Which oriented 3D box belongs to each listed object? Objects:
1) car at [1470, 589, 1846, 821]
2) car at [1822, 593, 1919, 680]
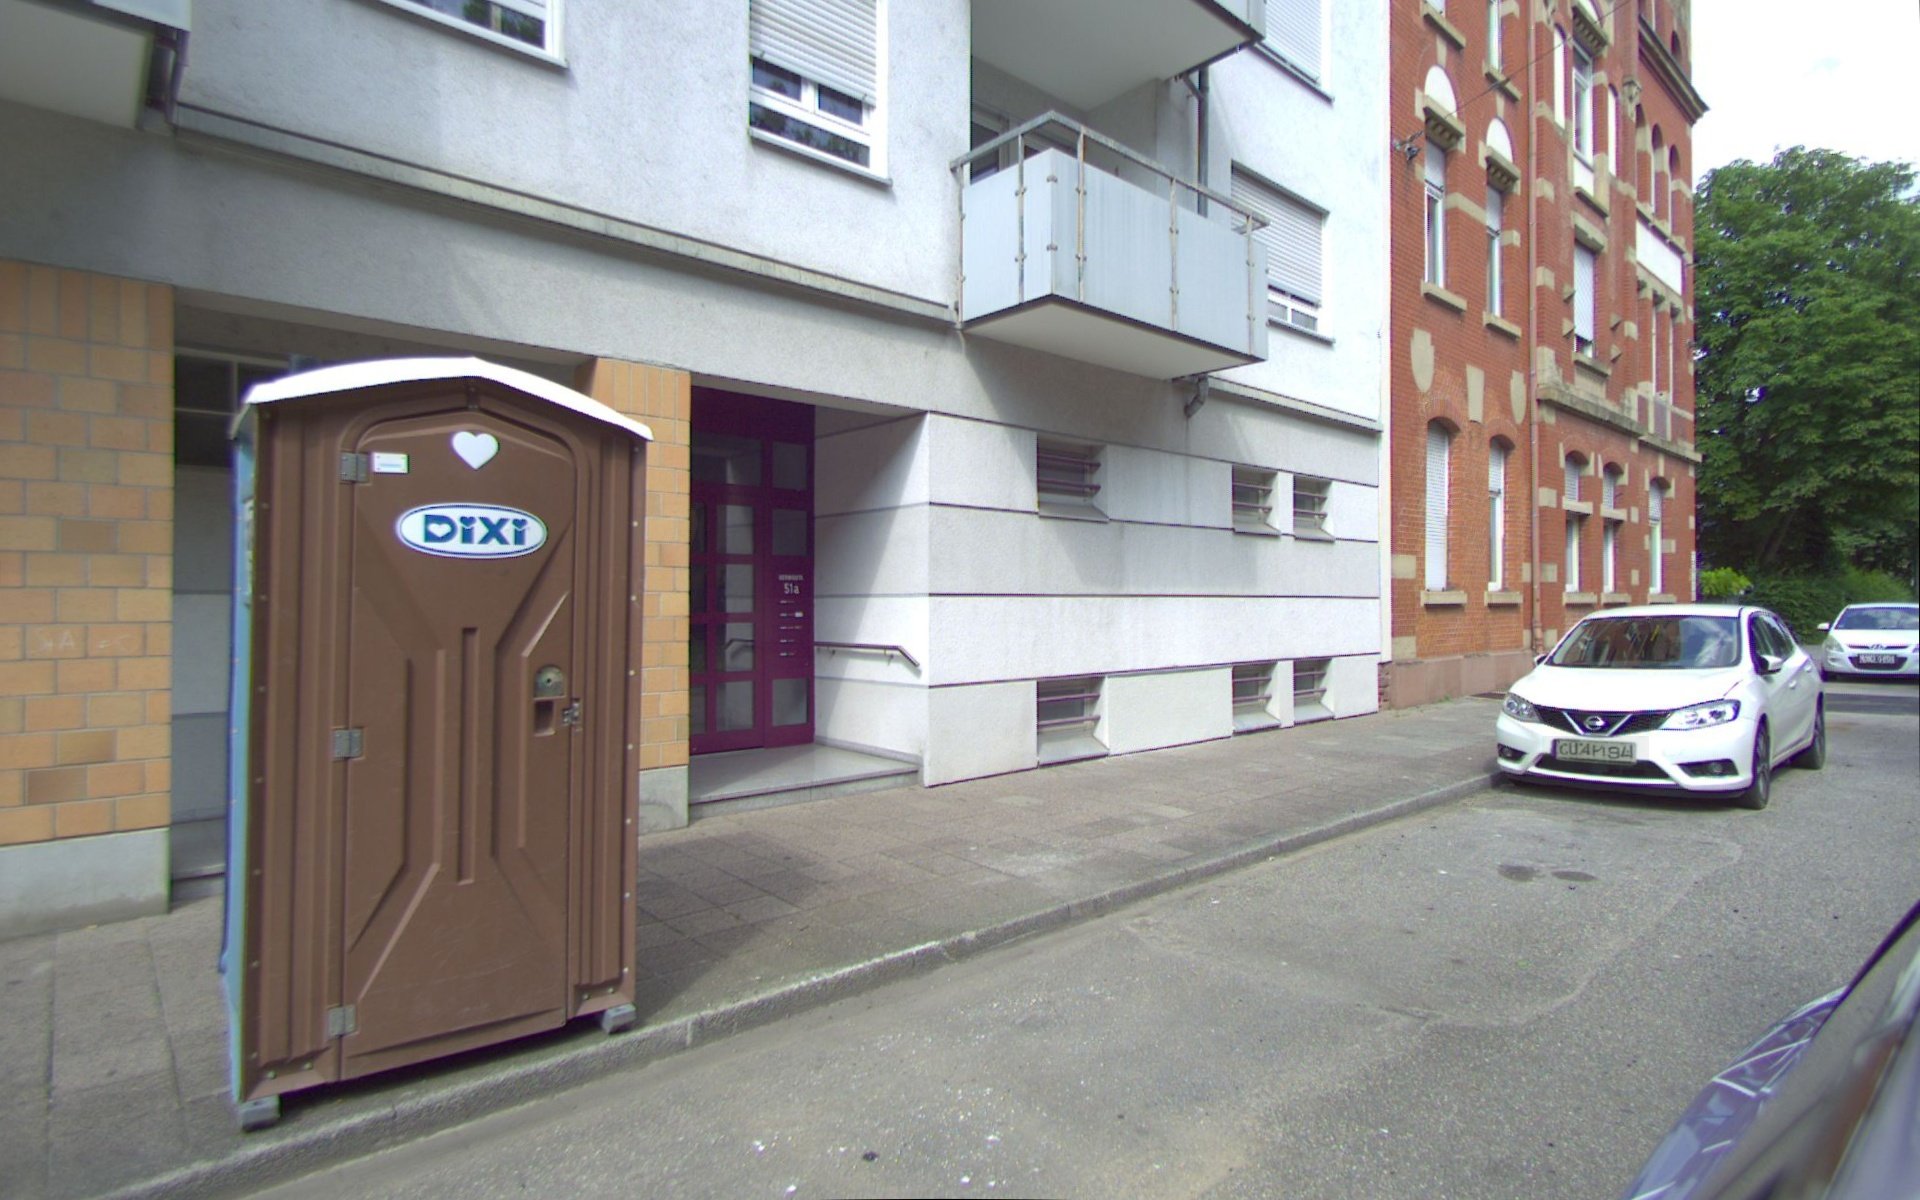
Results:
[{"bbox_3d":[6.183,0.711,8.792,3.971,1.549,1.799,0,-1,-42],"label":"car"},{"bbox_3d":[18.180,0.646,19.552,3.971,1.549,1.799,0,-1,-42],"label":"car"}]
